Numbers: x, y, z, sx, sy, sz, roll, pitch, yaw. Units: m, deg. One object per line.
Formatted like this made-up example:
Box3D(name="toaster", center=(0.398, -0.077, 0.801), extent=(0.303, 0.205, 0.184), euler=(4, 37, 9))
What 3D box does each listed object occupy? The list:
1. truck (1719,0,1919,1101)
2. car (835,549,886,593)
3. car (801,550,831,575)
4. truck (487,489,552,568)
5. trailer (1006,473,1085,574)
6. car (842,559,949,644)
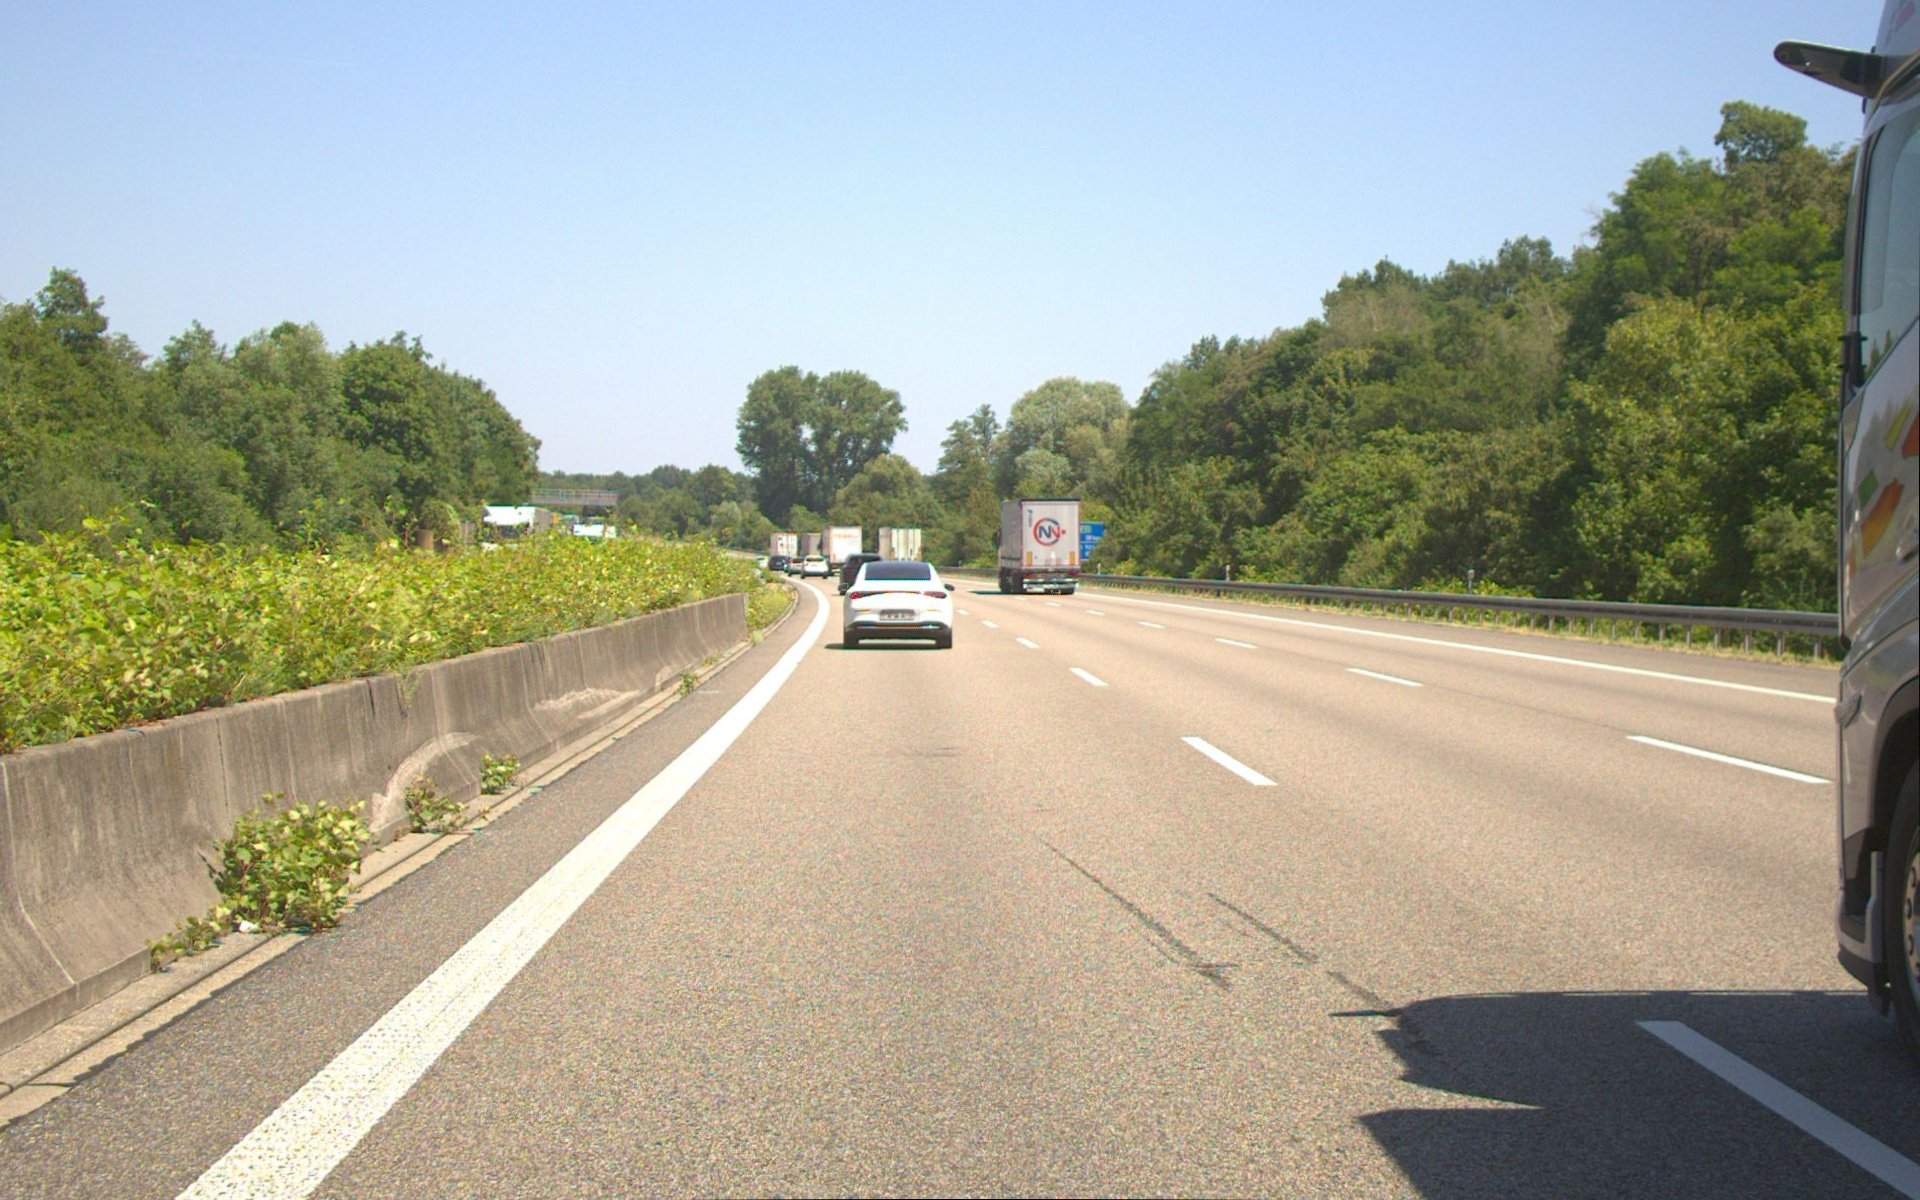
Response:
Box3D(name="truck", center=(3.969, -0.608, 8.239), extent=(2.722, 3.961, 6.502), euler=(1, 1, -1))
Box3D(name="car", center=(-4.086, -1.210, 141.158), extent=(1.993, 1.766, 4.001), euler=(0, 1, -3))
Box3D(name="car", center=(-10.383, -2.715, 247.962), extent=(1.723, 1.777, 4.001), euler=(0, 1, -9))
Box3D(name="truck", center=(-22.726, -3.680, 177.681), extent=(2.660, 3.971, 6.555), euler=(1, 1, -1))
Box3D(name="trailer", center=(3.711, -3.328, 152.117), extent=(2.624, 4.246, 14.062), euler=(1, 1, -2))
Box3D(name="car", center=(-1.055, 0.000, 57.854), extent=(1.715, 1.365, 3.375), euler=(1, 1, 0))
